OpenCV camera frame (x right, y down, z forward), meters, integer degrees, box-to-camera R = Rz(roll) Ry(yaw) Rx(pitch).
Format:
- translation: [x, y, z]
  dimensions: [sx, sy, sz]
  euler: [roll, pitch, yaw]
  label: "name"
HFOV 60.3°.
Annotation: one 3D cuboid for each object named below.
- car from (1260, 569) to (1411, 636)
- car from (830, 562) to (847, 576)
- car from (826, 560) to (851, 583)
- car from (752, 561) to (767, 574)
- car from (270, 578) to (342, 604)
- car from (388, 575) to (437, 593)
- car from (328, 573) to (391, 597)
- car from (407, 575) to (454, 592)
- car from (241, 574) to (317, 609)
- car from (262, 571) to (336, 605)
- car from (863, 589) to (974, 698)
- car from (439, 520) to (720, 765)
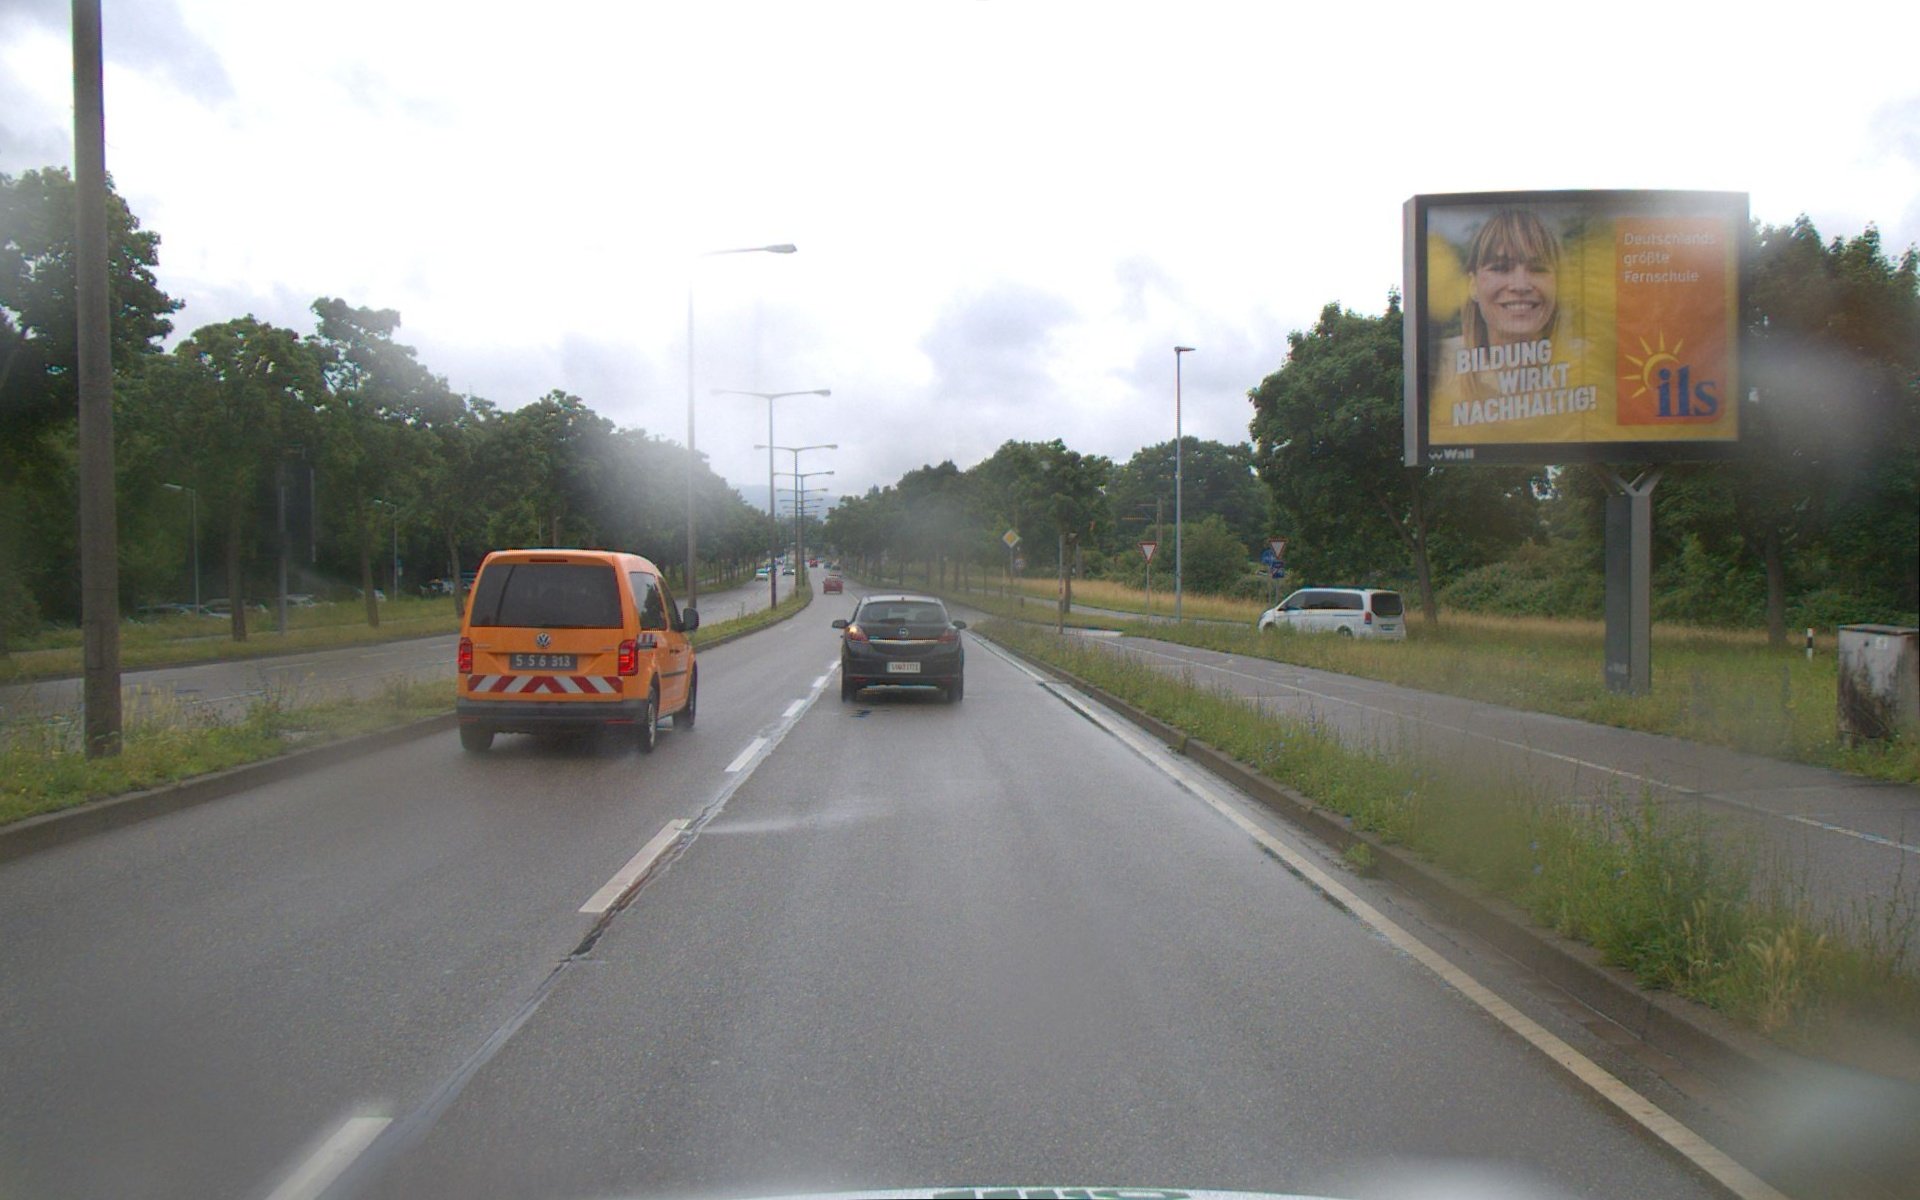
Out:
- translation: [11.940, 0.051, 52.854]
  dimensions: [2.042, 2.009, 4.553]
  euler: [1, 1, -35]
  label: "car"
- translation: [-19.000, -4.792, 258.326]
  dimensions: [2.467, 2.088, 5.288]
  euler: [0, 1, -5]
  label: "car"
- translation: [-10.585, -2.456, 143.879]
  dimensions: [1.953, 1.912, 3.999]
  euler: [1, 1, -1]
  label: "car"
- translation: [-26.814, -4.354, 221.392]
  dimensions: [1.649, 1.581, 3.998]
  euler: [1, 1, -2]
  label: "car"
- translation: [-42.221, -0.587, 106.860]
  dimensions: [3.913, 1.646, 1.996]
  euler: [0, 1, -9]
  label: "car"
- translation: [-46.018, -1.364, 139.057]
  dimensions: [3.665, 1.451, 1.485]
  euler: [-1, 1, -9]
  label: "car"
- translation: [-43.221, -1.111, 119.108]
  dimensions: [3.913, 1.668, 1.908]
  euler: [-1, 1, -9]
  label: "car"
- translation: [-46.901, -1.483, 146.641]
  dimensions: [3.764, 1.477, 1.522]
  euler: [-1, 1, -9]
  label: "car"
- translation: [-41.933, -0.539, 101.920]
  dimensions: [3.913, 2.048, 1.996]
  euler: [-1, 1, -9]
  label: "car"
- translation: [-41.781, -0.761, 104.591]
  dimensions: [3.913, 2.048, 1.996]
  euler: [-1, 1, -9]
  label: "car"
- translation: [-0.595, 0.563, 23.583]
  dimensions: [1.433, 1.352, 3.757]
  euler: [1, 1, -2]
  label: "car"
- translation: [-3.556, 0.326, 16.344]
  dimensions: [1.699, 2.054, 4.849]
  euler: [0, 1, -1]
  label: "car"
